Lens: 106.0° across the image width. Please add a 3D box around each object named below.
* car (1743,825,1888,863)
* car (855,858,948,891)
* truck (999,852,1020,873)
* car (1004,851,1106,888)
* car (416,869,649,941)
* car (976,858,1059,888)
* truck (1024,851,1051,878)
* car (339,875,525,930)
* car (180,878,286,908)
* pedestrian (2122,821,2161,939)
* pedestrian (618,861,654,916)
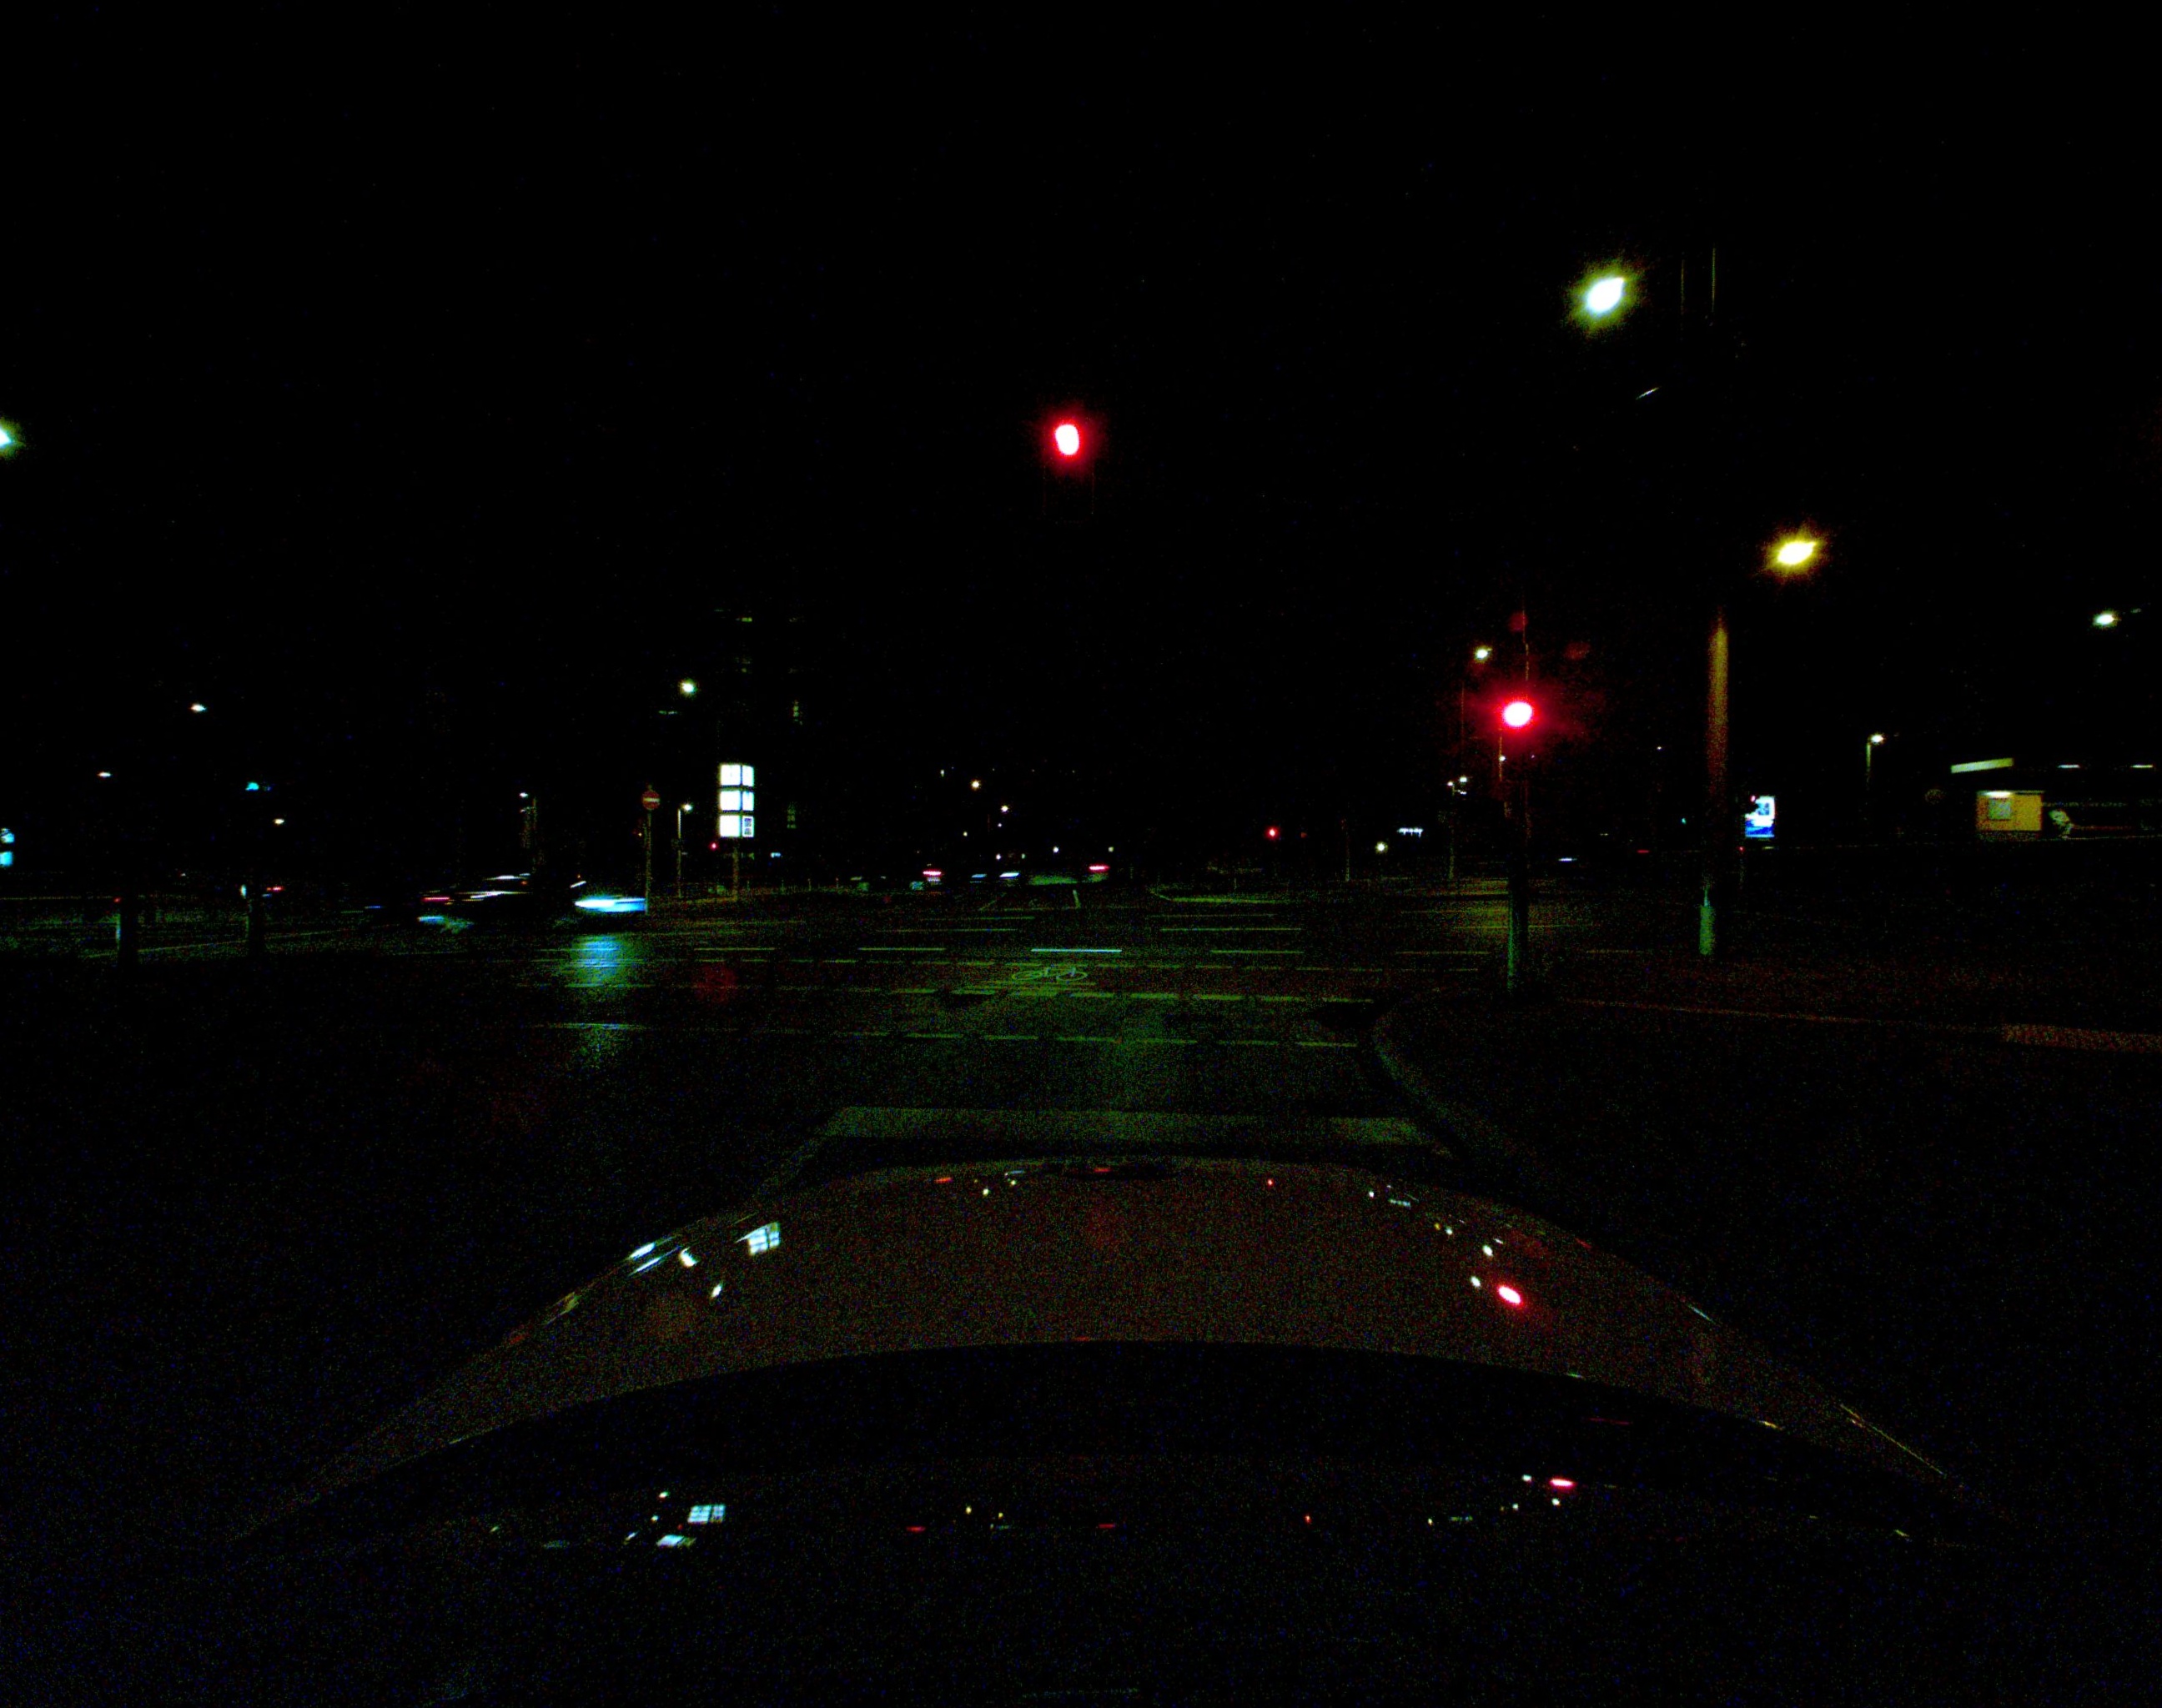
[{"bbox_3d":[31.450,-0.404,34.986,4.406,1.420,1.854,-2,-1,5],"label":"car"},{"bbox_3d":[-9.095,1.039,41.453,4.212,1.585,1.806,0,-1,6],"label":"car"},{"bbox_3d":[-10.629,1.276,120.343,2.419,3.089,6.412,0,-1,-11],"label":"truck"},{"bbox_3d":[-1.174,0.701,37.836,4.551,1.585,1.848,0,1,3],"label":"car"},{"bbox_3d":[-13.335,1.215,19.957,4.549,1.419,1.748,-2,2,5],"label":"car"},{"bbox_3d":[-3.379,1.035,44.004,4.215,1.585,1.889,0,-1,4],"label":"car"},{"bbox_3d":[-7.995,1.938,149.251,3.366,4.843,7.865,0,-1,-14],"label":"truck"},{"bbox_3d":[-18.716,1.388,23.566,4.224,1.420,1.750,-1,2,9],"label":"car"},{"bbox_3d":[-47.012,2.136,45.199,4.041,1.424,1.846,-1,1,5],"label":"car"},{"bbox_3d":[15.824,0.334,11.647,0.870,1.656,0.843,-7,-5,42],"label":"pedestrian"},{"bbox_3d":[-13.992,1.076,25.612,0.670,1.722,0.710,-1,-2,28],"label":"pedestrian"}]
